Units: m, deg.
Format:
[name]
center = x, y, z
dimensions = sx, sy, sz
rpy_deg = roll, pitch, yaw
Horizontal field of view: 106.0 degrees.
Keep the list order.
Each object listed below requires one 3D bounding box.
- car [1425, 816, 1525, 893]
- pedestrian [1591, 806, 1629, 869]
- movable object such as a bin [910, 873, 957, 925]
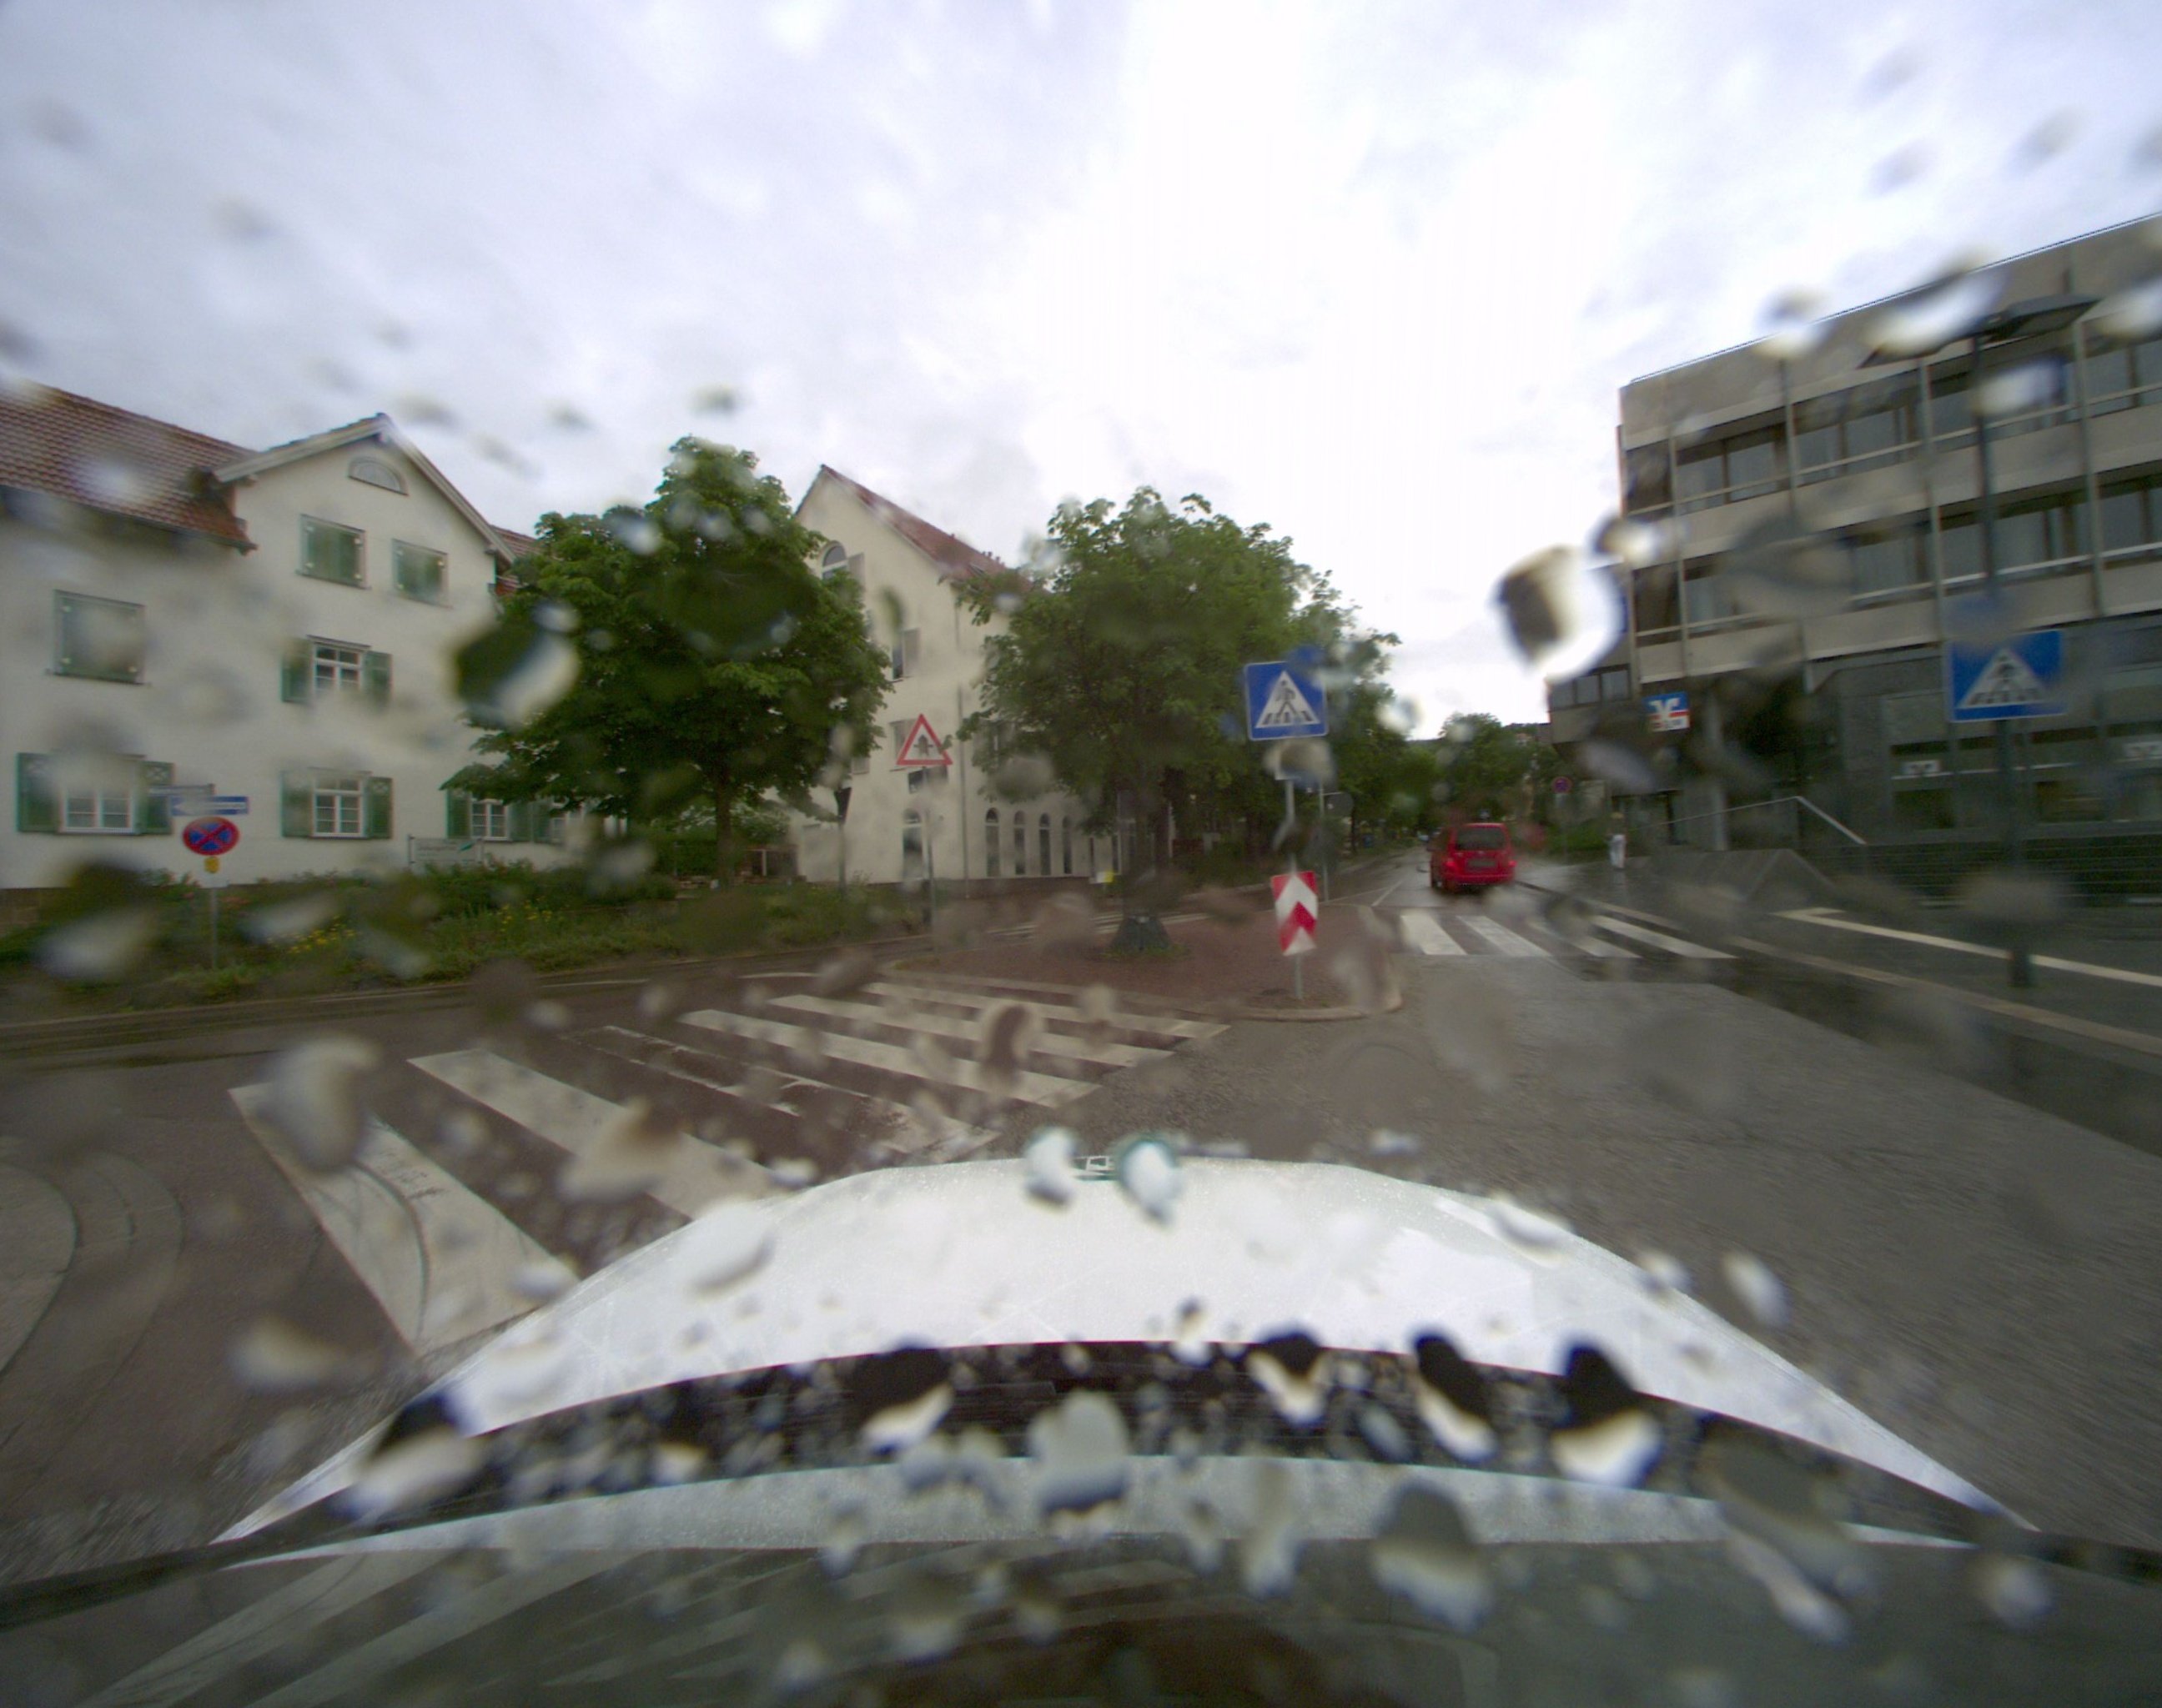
[car]
center = 10.653, 0.010, 22.287
dimensions = 1.847, 1.830, 4.205
rpy_deg = -3, -1, 18
[pedestrian]
center = 15.981, -0.493, 24.616
dimensions = 0.826, 1.830, 0.821
rpy_deg = -4, -1, 36
[movable object such as a bin]
center = -3.319, 1.008, 18.280
dimensions = 0.730, 1.124, 0.654
rpy_deg = -4, -2, 33
